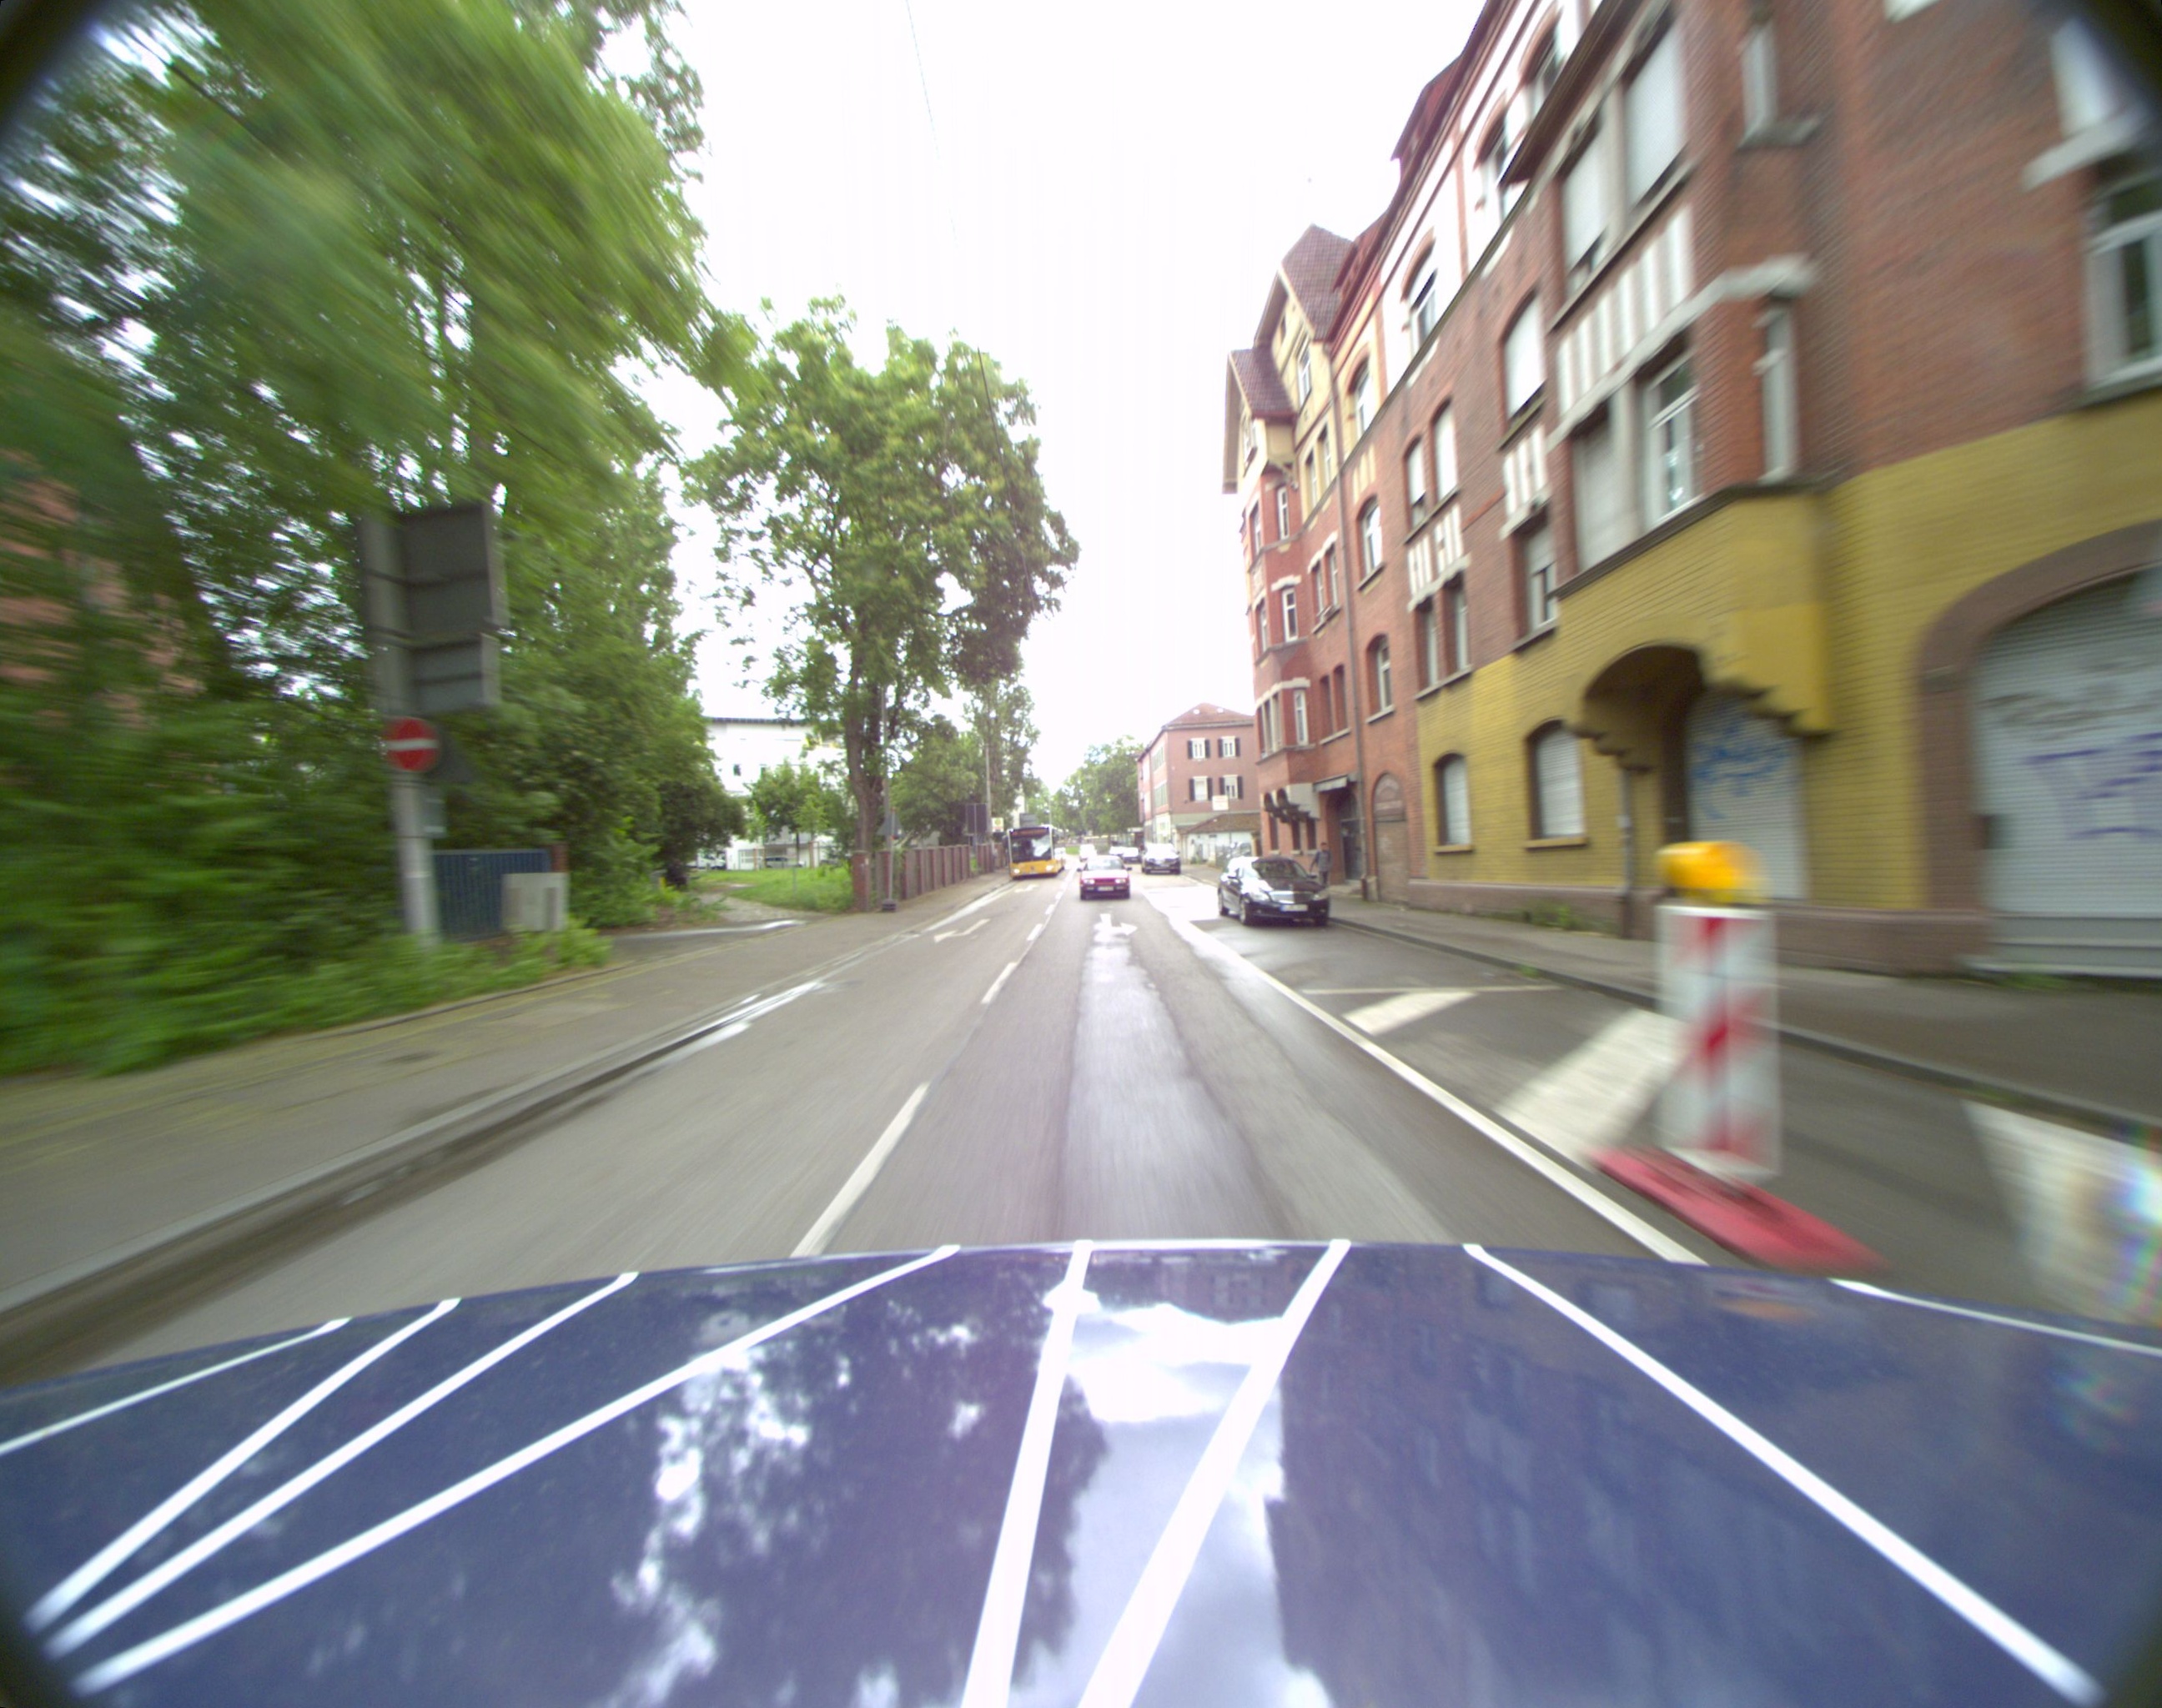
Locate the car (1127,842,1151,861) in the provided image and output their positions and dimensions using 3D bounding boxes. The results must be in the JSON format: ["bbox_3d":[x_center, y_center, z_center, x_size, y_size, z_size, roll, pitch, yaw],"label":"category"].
[{"bbox_3d":[5.369,-0.276,70.787,1.883,1.478,4.126,-4,2,1],"label":"car"}]

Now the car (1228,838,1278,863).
[{"bbox_3d":[11.223,-0.257,49.625,2.854,1.556,1.853,-1,1,1],"label":"car"}]

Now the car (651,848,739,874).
[{"bbox_3d":[-28.143,0.496,55.610,5.565,1.581,1.995,-3,4,-23],"label":"car"}]

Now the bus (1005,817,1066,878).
[{"bbox_3d":[-2.579,-0.415,46.039,2.678,3.120,9.216,-5,1,1],"label":"bus"}]

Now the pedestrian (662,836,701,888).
[{"bbox_3d":[-16.164,0.301,30.780,1.135,2.002,1.250,-1,2,-16],"label":"pedestrian"}]

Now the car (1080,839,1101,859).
[{"bbox_3d":[1.056,-0.619,84.816,2.073,1.776,4.453,-5,5,0],"label":"car"}]

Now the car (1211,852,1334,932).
[{"bbox_3d":[4.152,0.777,17.178,1.729,1.477,4.391,-3,-1,2],"label":"car"}]

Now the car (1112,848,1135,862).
[{"bbox_3d":[4.810,0.088,87.330,1.834,1.447,4.917,-3,2,-6],"label":"car"}]

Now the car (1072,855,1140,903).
[{"bbox_3d":[0.760,0.778,25.547,1.850,1.414,4.171,-1,0,-4],"label":"car"}]

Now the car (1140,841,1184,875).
[{"bbox_3d":[4.560,0.201,43.444,1.959,1.724,4.773,-3,1,1],"label":"car"}]

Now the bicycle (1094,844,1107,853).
[{"bbox_3d":[2.863,-0.778,111.899,1.809,1.170,0.723,-6,3,-24],"label":"bicycle"}]

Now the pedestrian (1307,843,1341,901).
[{"bbox_3d":[6.898,0.504,21.603,0.661,1.600,0.632,-4,1,1],"label":"pedestrian"}]

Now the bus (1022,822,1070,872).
[{"bbox_3d":[-2.396,-0.564,55.659,2.669,3.118,10.038,-5,1,1],"label":"bus"}]

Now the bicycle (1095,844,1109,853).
[{"bbox_3d":[3.108,-0.856,113.052,1.875,1.108,0.577,-5,3,-3],"label":"bicycle"}]

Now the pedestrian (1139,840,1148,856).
[{"bbox_3d":[7.039,-0.631,85.370,0.763,1.734,0.984,-5,0,-2],"label":"pedestrian"}]
